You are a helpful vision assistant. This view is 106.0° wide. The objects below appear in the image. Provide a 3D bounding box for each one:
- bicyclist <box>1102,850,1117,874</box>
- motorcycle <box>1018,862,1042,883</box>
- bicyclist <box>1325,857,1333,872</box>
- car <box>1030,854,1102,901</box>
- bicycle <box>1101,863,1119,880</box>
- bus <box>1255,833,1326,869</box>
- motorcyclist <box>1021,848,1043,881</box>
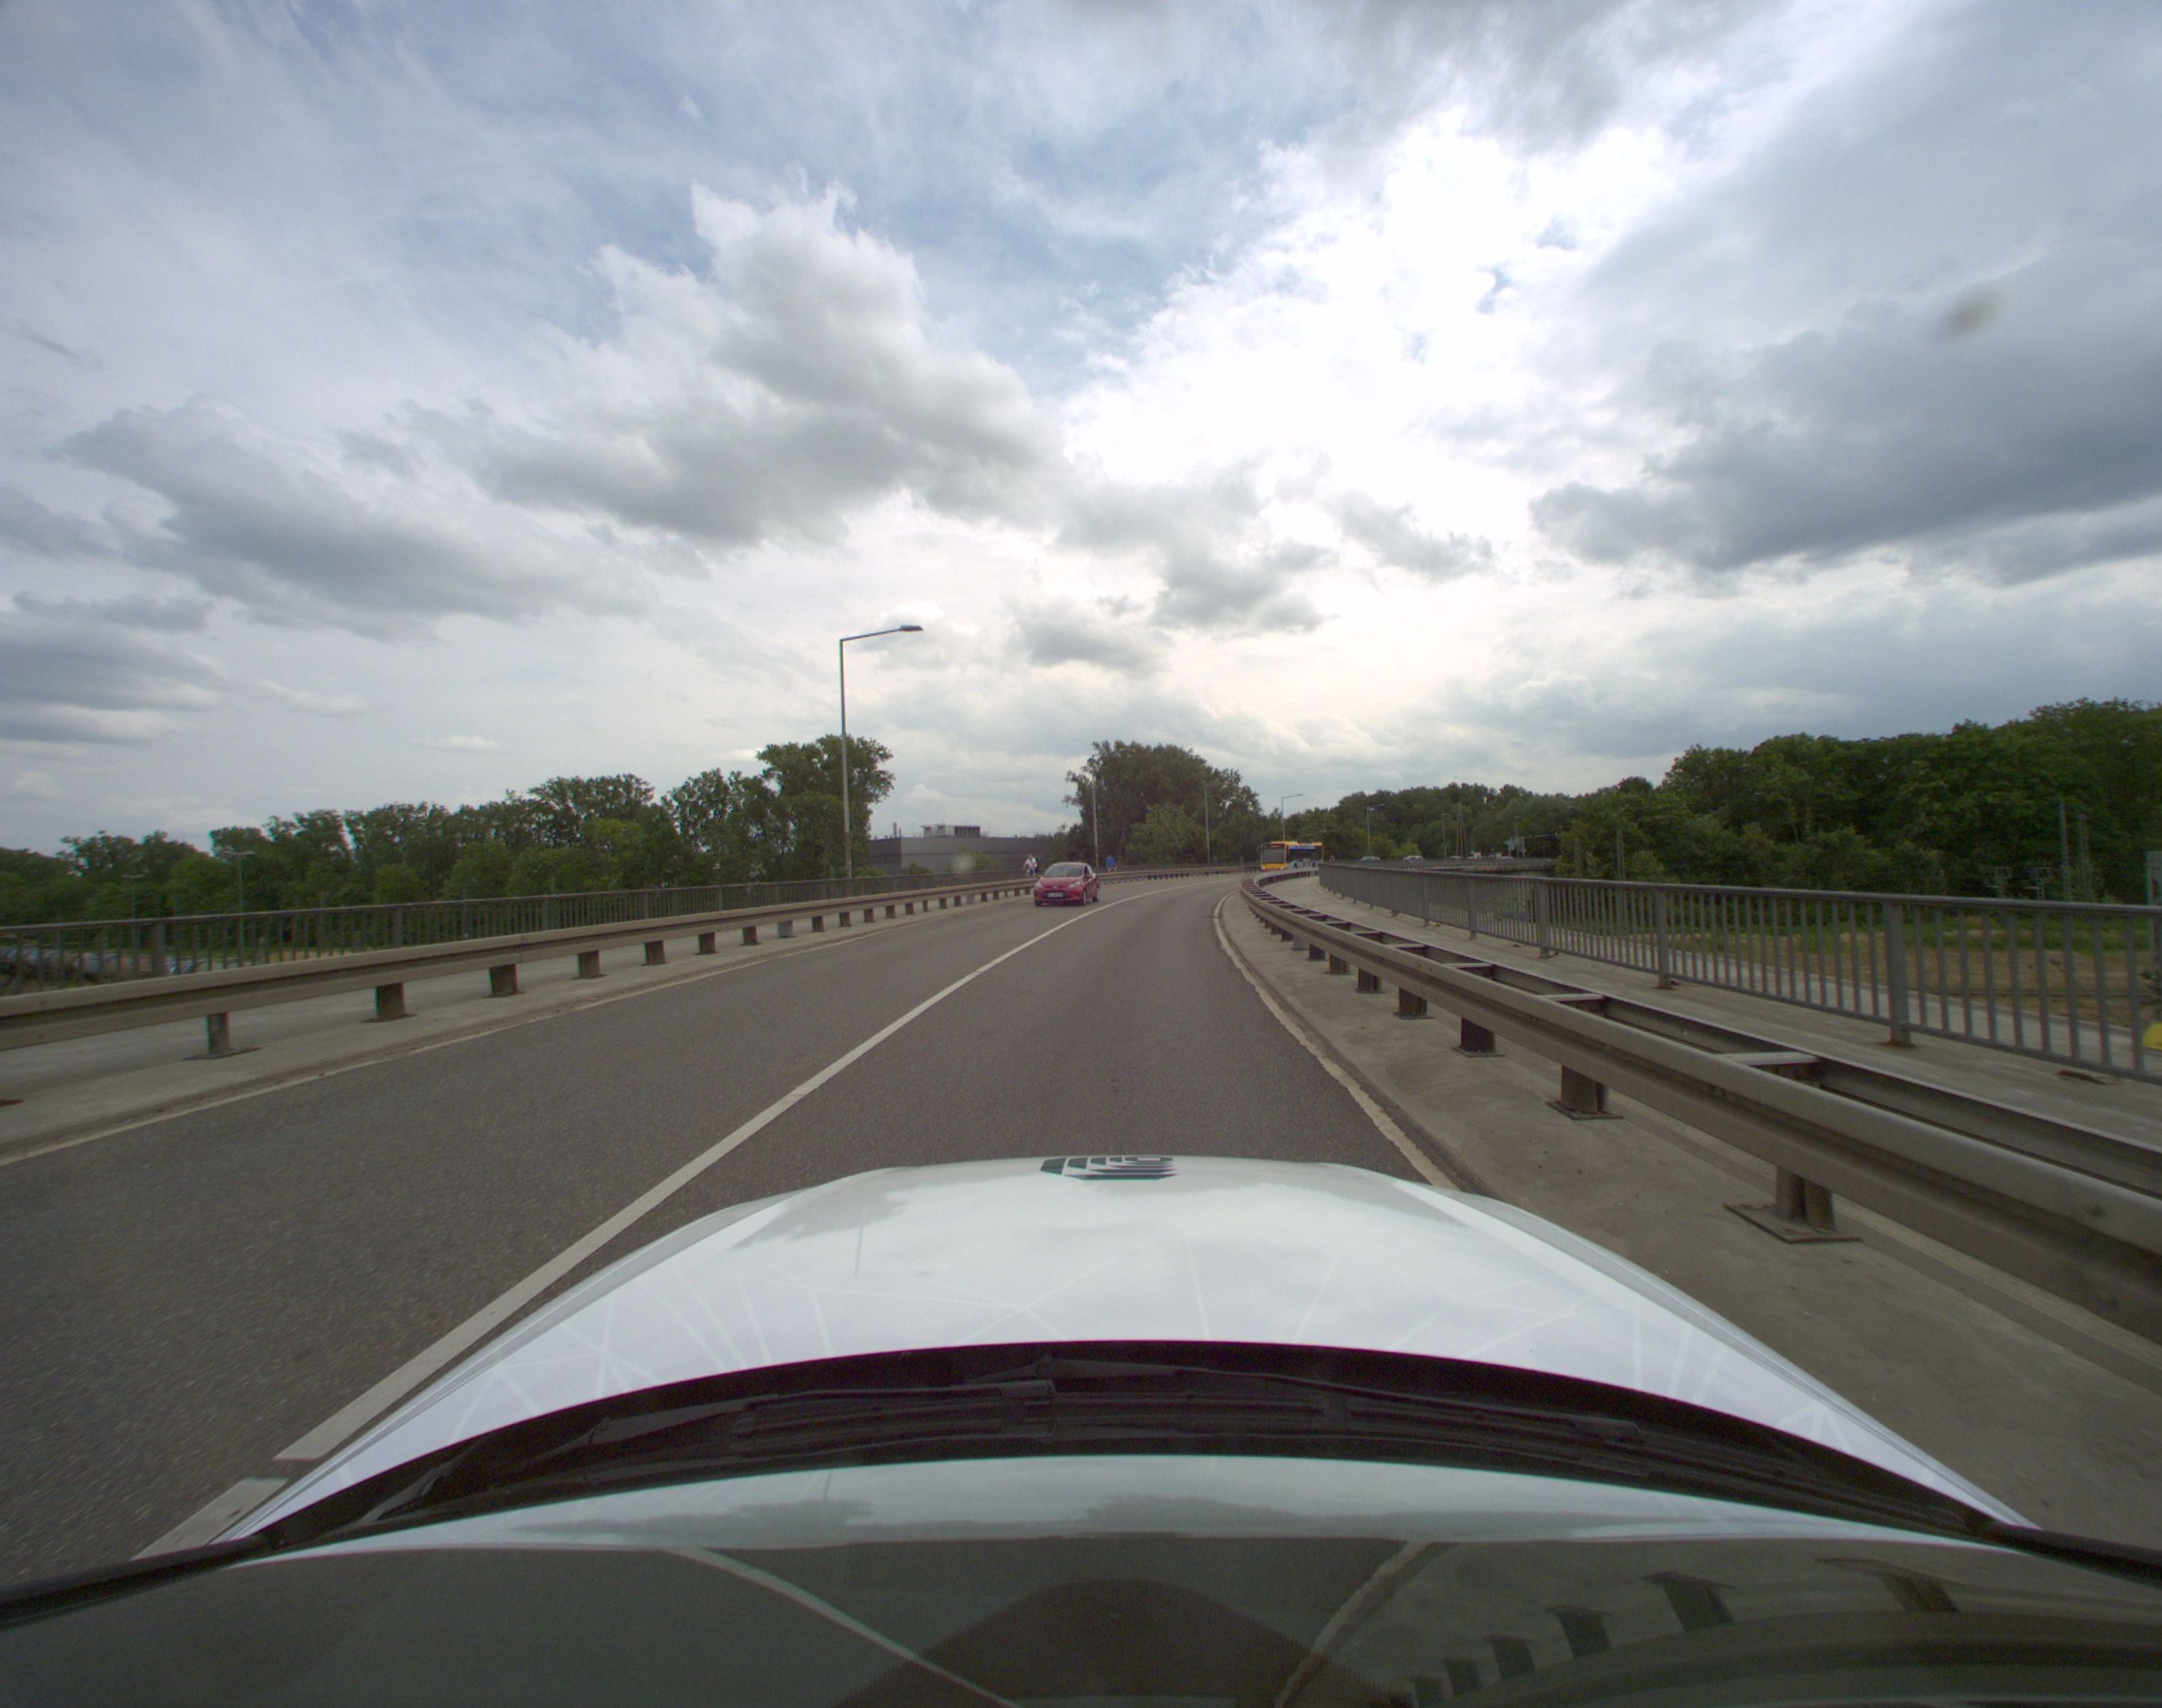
[{"bbox_3d":[1.805,0.509,51.574,0.604,1.540,0.761,-2,-2,27],"label":"bicyclist"},{"bbox_3d":[-2.415,0.876,38.551,0.621,0.963,1.846,-1,-1,13],"label":"motorcycle"},{"bbox_3d":[31.608,1.325,103.681,0.840,1.809,0.801,-2,-2,29],"label":"bicyclist"},{"bbox_3d":[-0.441,0.797,28.024,1.748,1.492,4.010,-1,-1,9],"label":"car"},{"bbox_3d":[1.848,1.101,51.550,0.488,1.045,1.819,-1,-2,22],"label":"bicycle"},{"bbox_3d":[21.032,-0.190,80.912,3.002,3.233,13.032,-2,-2,32],"label":"bus"},{"bbox_3d":[-2.335,0.511,38.880,0.804,1.529,0.827,-1,-2,11],"label":"motorcyclist"}]
